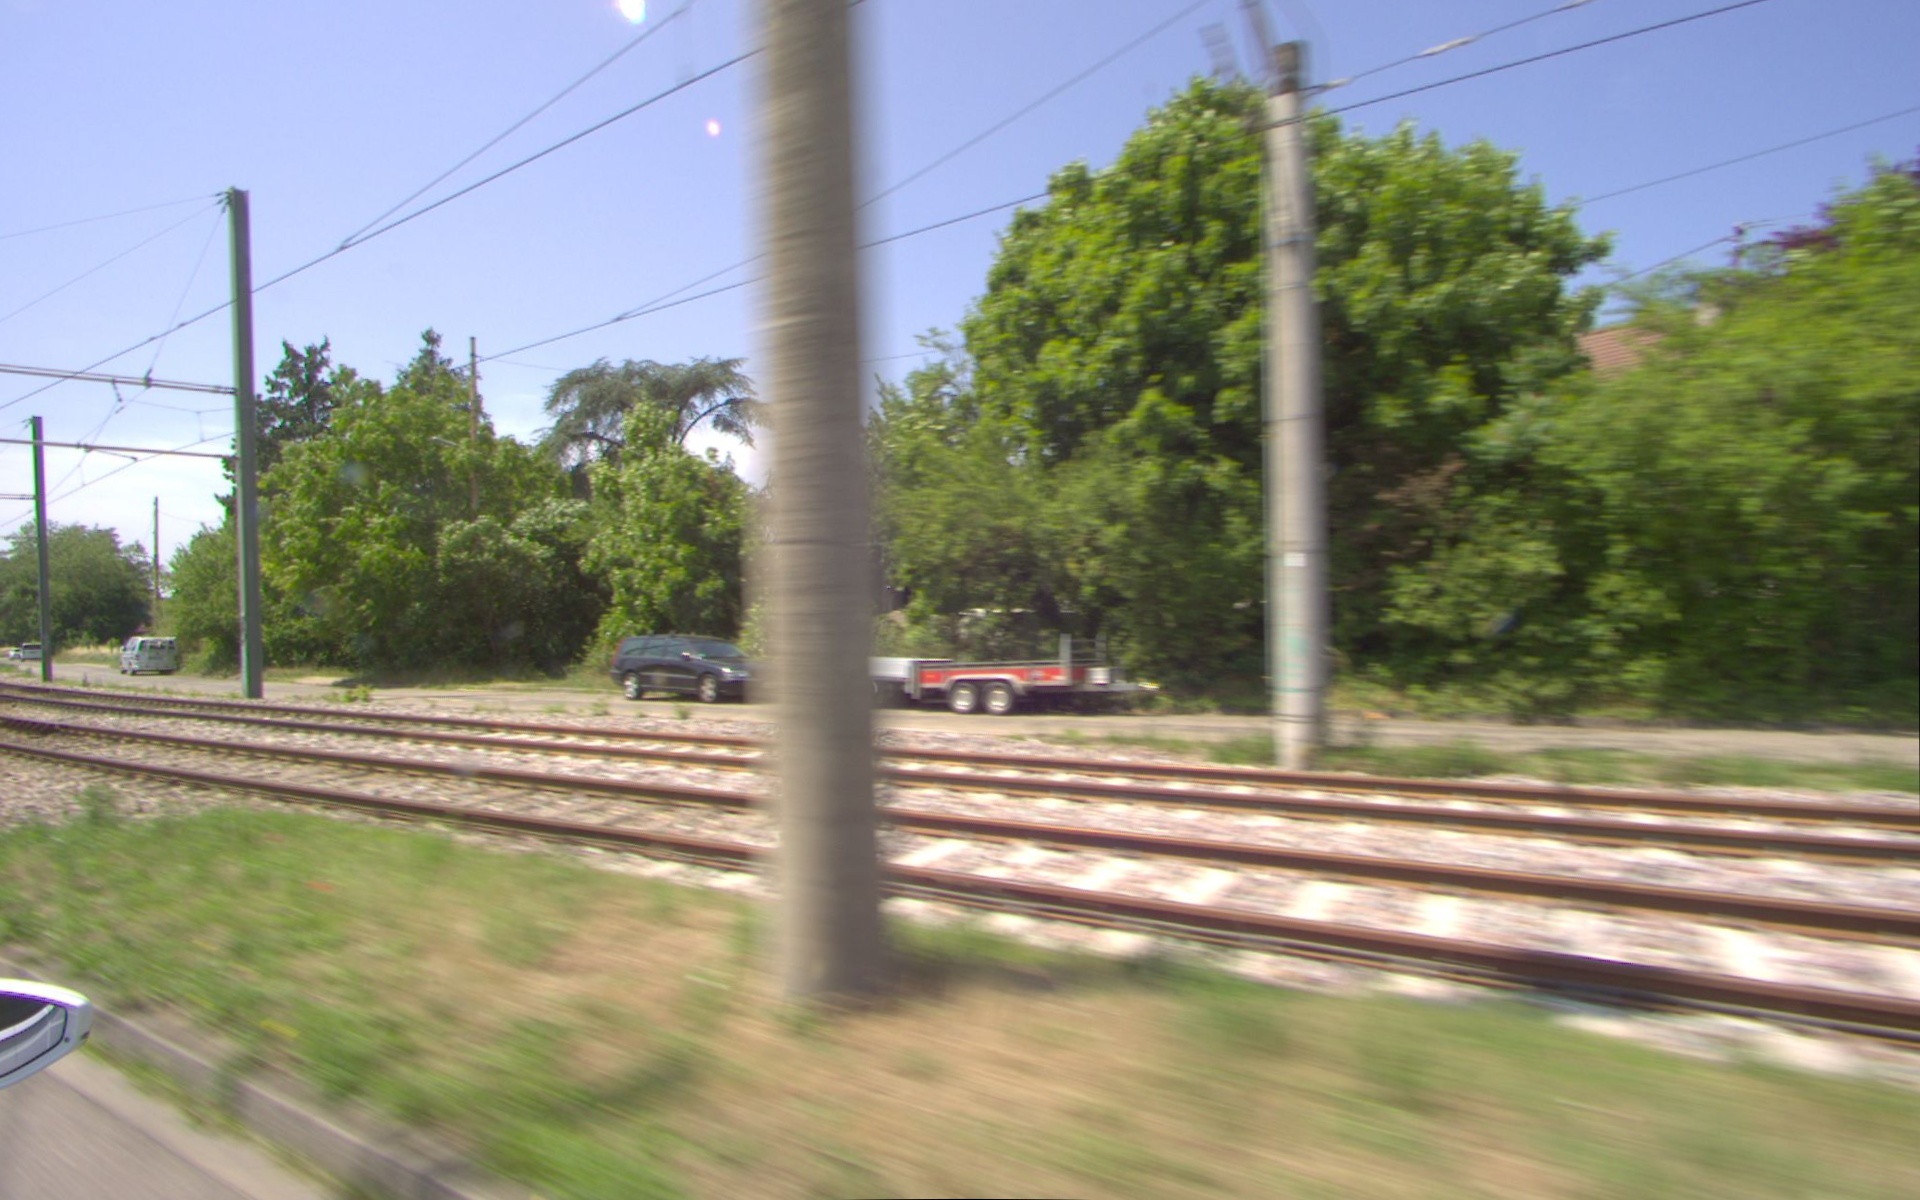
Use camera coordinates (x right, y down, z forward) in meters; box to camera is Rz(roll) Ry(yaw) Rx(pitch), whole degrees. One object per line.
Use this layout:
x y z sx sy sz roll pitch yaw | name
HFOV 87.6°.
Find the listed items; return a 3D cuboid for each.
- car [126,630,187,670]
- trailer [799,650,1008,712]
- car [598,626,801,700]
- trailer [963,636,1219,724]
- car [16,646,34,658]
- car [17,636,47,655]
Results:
-42.351 2.653 52.750 2.022 1.906 5.021 -2 -1 -44 | car
-1.125 1.478 18.844 3.948 1.007 1.415 -1 -3 36 | trailer
-5.859 1.396 22.292 4.680 1.444 1.790 -3 -1 36 | car
2.083 1.288 16.513 3.950 1.238 1.457 -3 -1 36 | trailer
-111.987 6.236 119.922 3.431 1.325 1.419 -4 -1 44 | car
-98.385 4.822 106.142 4.746 1.825 1.982 -4 -1 44 | car
